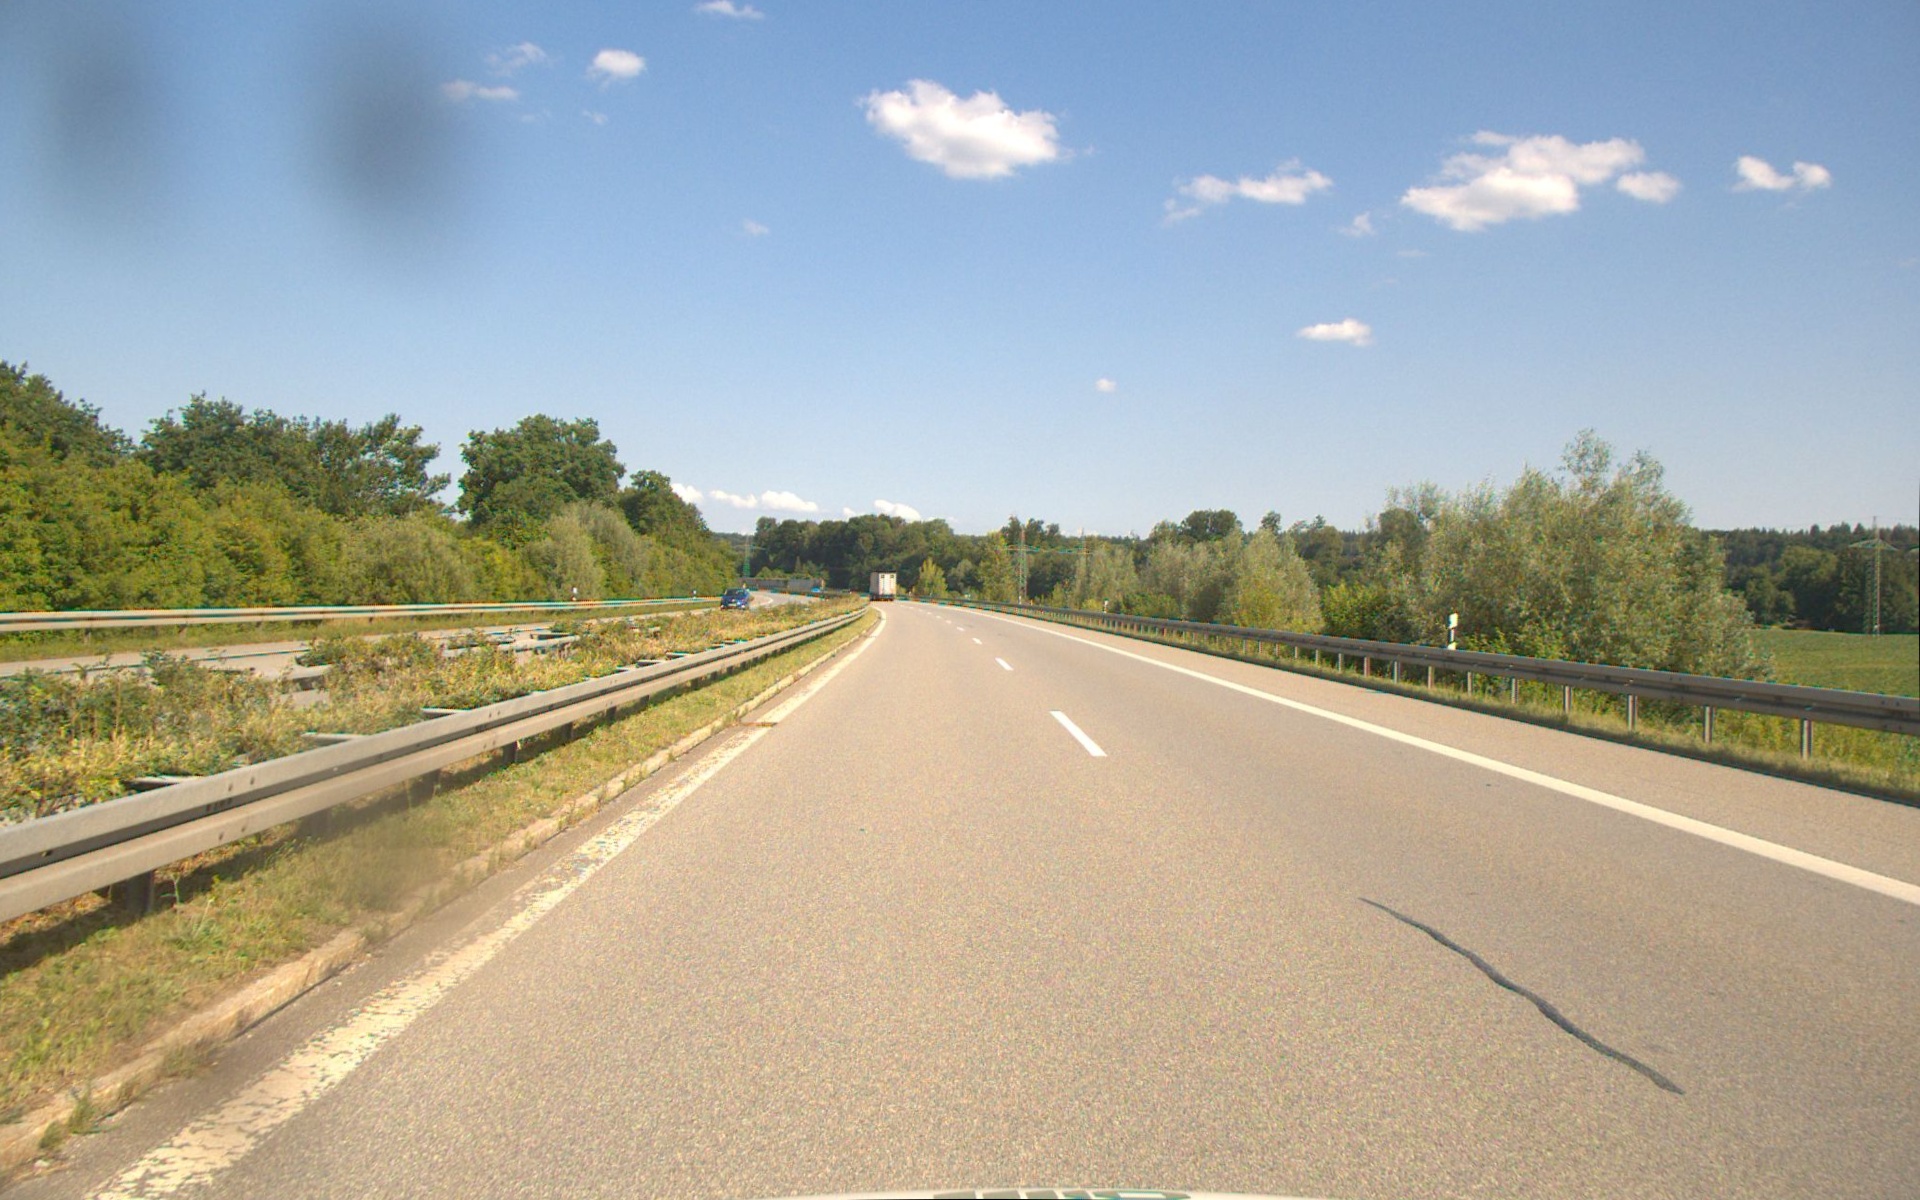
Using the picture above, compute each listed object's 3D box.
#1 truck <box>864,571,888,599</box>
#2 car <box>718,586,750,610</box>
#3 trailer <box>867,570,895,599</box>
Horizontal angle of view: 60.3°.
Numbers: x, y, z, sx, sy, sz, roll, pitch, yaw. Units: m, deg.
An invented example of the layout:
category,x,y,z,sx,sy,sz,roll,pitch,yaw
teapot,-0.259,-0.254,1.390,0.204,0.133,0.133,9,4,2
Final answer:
category,x,y,z,sx,sy,sz,roll,pitch,yaw
truck,-12.611,-2.236,248.304,2.779,4.082,6.572,0,1,-10
car,-14.242,-0.146,104.452,1.642,1.466,3.998,0,0,-3
trailer,-11.596,-2.331,241.951,2.831,4.137,12.396,0,1,-9
